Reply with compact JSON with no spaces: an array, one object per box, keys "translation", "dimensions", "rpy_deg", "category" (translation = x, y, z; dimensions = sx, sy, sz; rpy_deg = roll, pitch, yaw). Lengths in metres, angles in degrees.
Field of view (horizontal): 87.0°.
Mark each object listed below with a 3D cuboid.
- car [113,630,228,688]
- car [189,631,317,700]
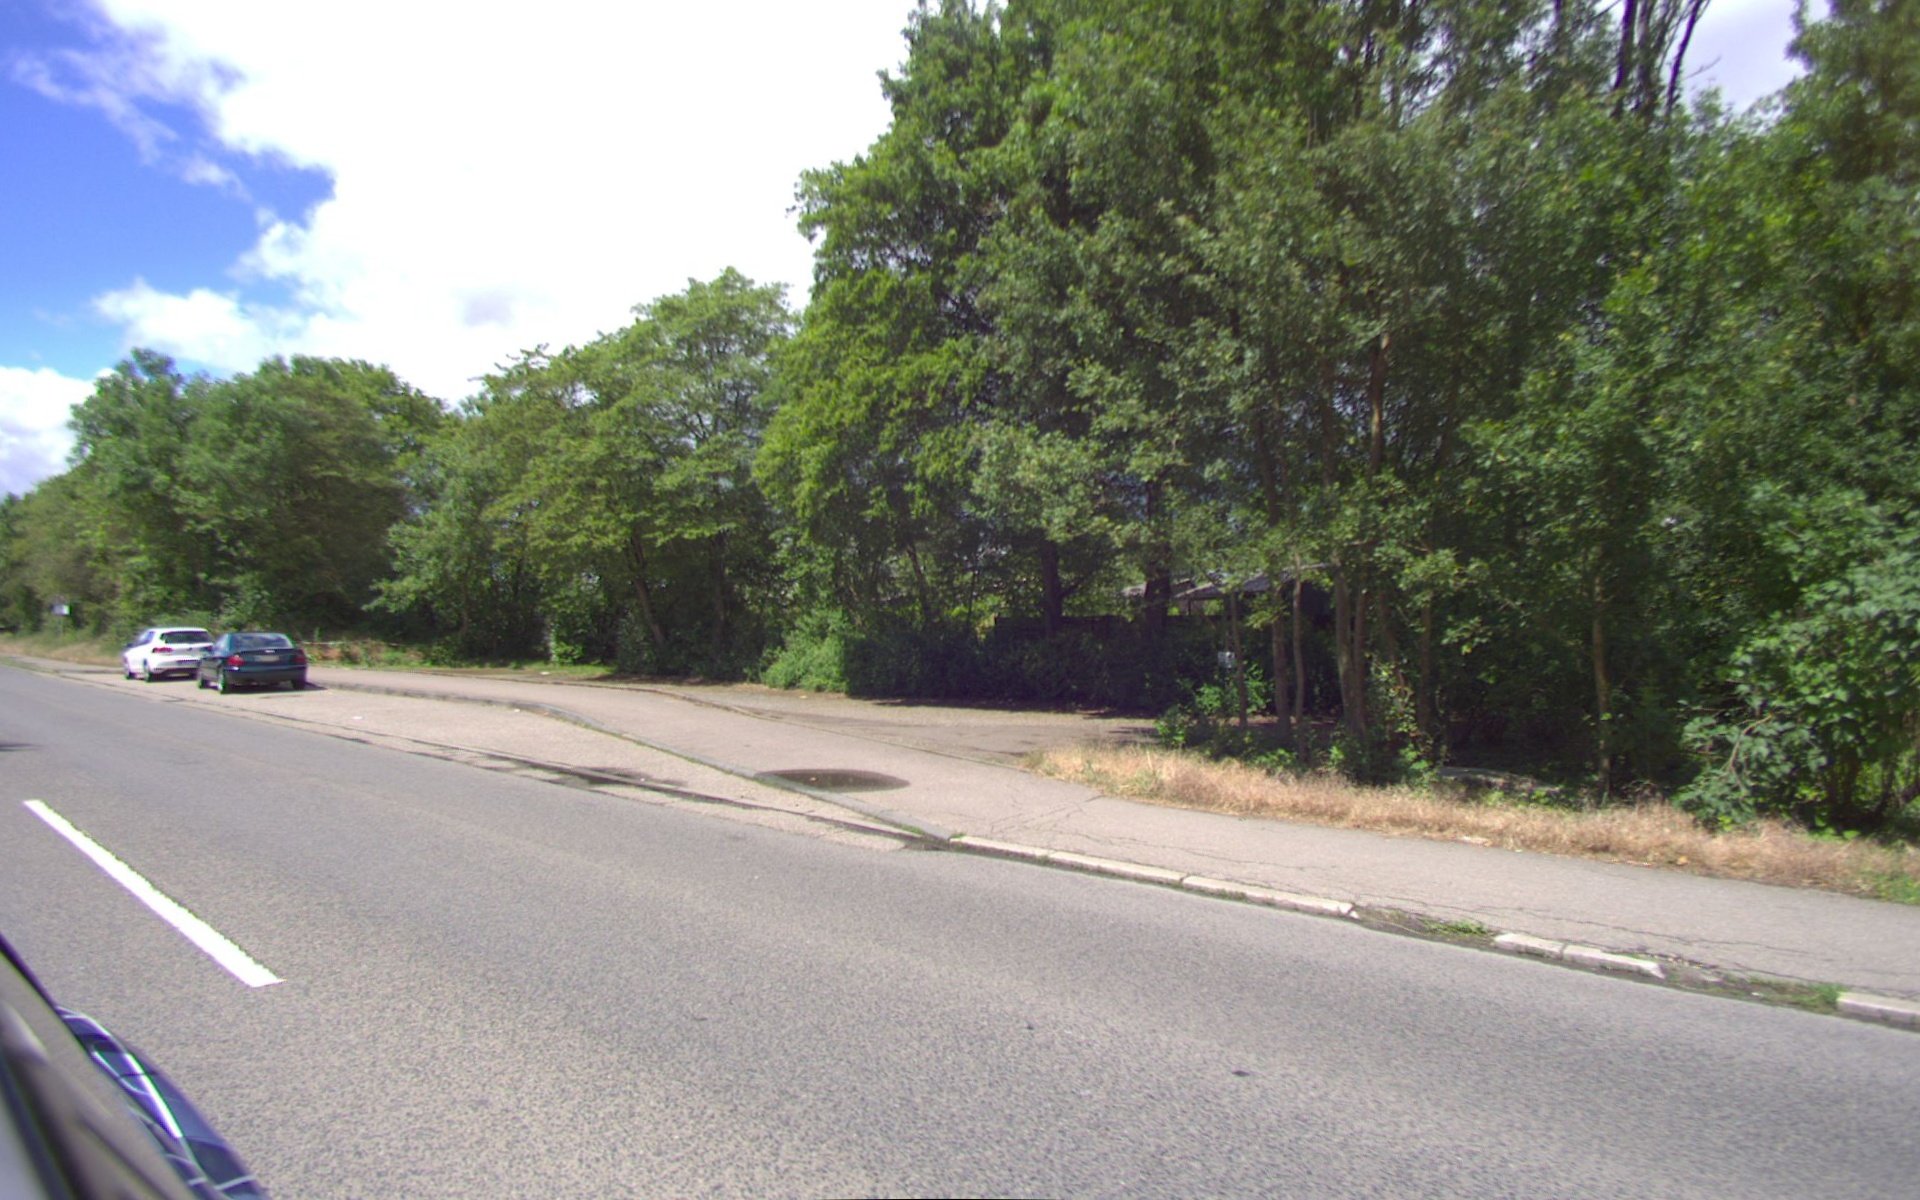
[{"translation":[-22.812,1.646,29.201],"dimensions":[4.242,1.481,1.750],"rpy_deg":[-1,0,40],"category":"car"},{"translation":[-17.200,1.521,24.548],"dimensions":[4.266,1.418,1.748],"rpy_deg":[-1,0,44],"category":"car"}]
